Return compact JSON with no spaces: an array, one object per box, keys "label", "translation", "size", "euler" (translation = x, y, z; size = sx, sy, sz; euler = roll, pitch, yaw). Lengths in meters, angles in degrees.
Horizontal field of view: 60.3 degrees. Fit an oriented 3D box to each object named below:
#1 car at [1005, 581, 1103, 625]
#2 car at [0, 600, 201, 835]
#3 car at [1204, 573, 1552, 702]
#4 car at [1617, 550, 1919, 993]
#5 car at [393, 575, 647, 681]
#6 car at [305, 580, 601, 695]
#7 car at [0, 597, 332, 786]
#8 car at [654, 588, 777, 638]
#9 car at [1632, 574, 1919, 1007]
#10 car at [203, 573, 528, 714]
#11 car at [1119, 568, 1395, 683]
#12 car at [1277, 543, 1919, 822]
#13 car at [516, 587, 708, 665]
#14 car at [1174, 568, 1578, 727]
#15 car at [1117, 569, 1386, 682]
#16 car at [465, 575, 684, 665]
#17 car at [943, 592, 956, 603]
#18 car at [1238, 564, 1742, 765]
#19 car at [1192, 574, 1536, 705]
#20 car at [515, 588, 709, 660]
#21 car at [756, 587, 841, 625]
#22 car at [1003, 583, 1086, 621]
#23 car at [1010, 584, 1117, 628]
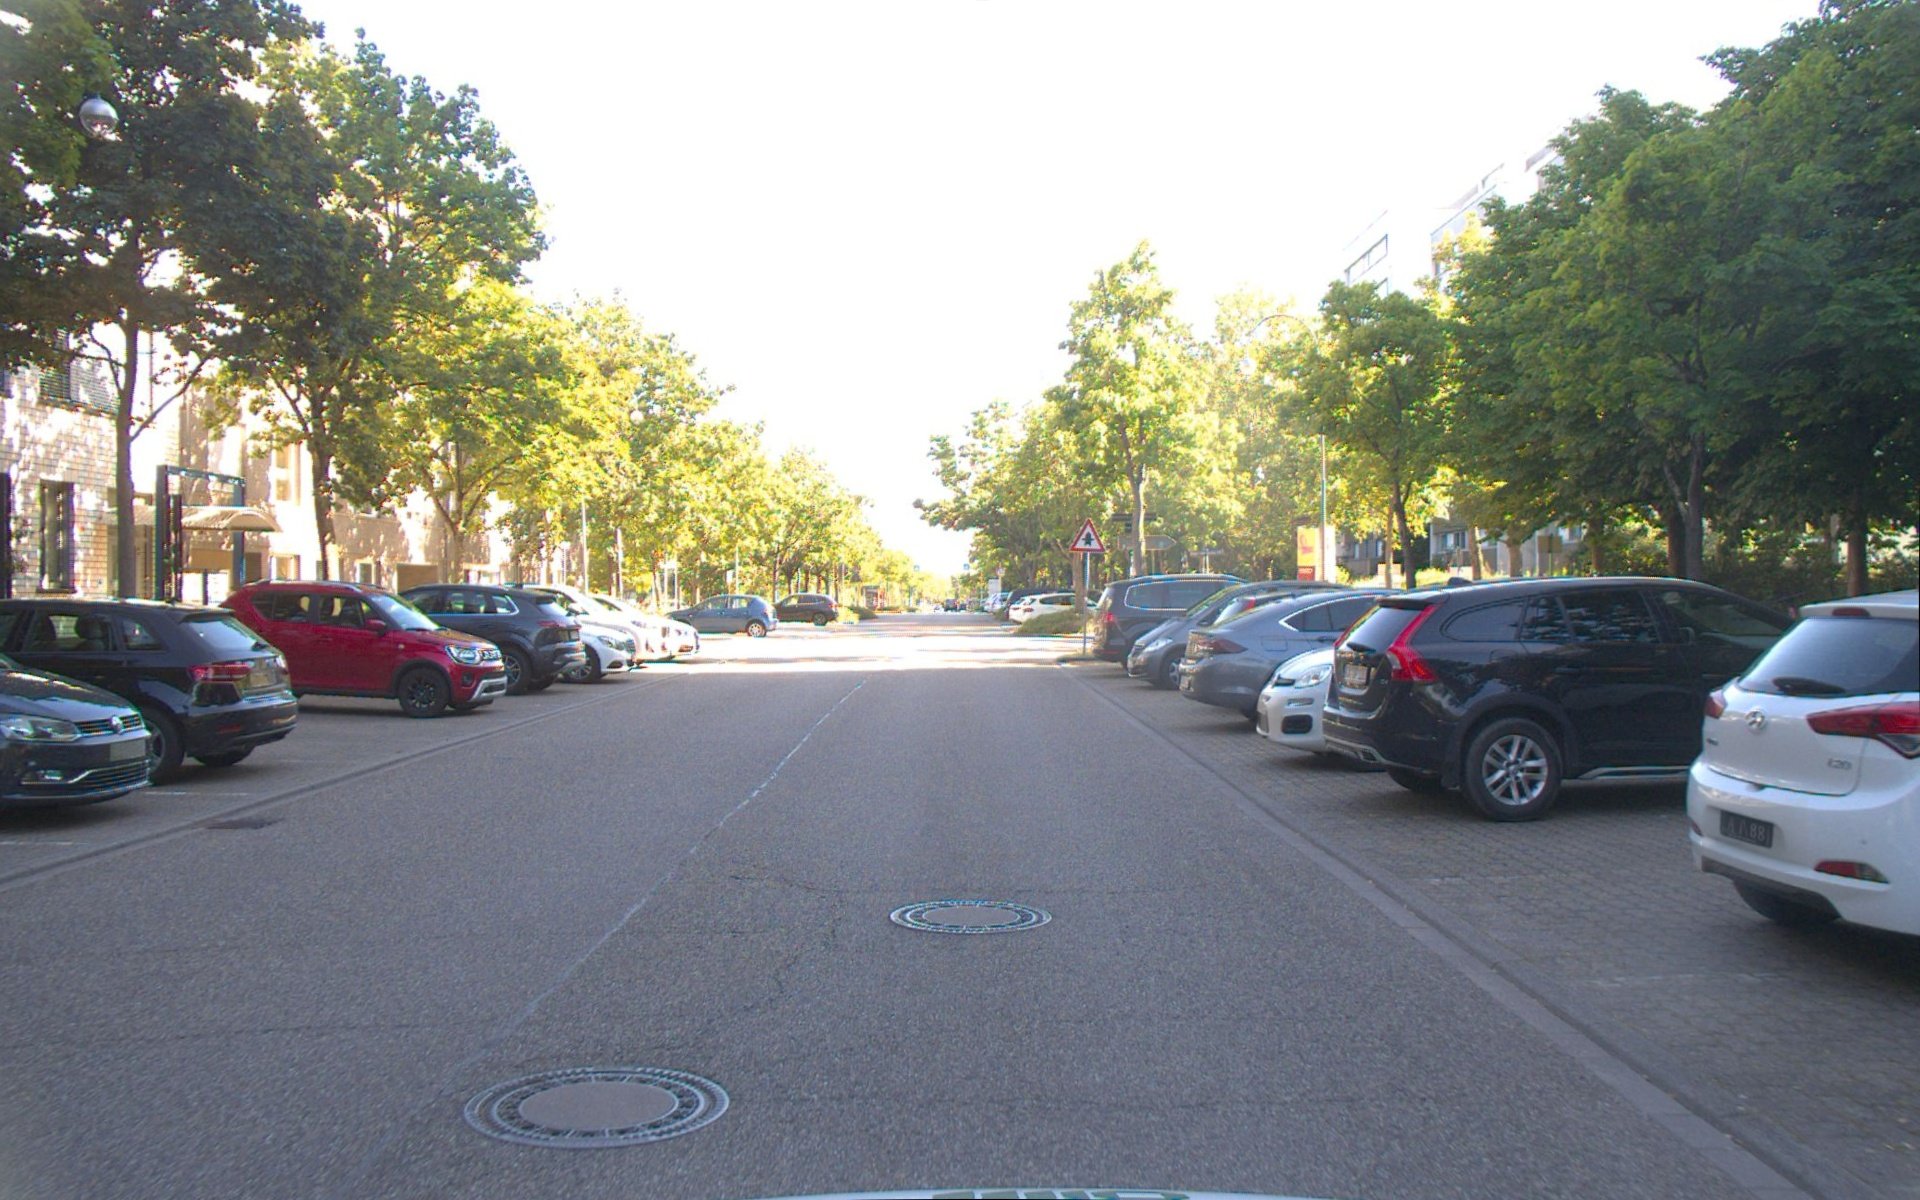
[{"label":"car","translation":[3.979,0.125,70.312],"size":[3.909,1.823,1.998],"euler":[0,0,-6]},{"label":"car","translation":[-7.412,0.706,11.015],"size":[3.907,1.437,1.665],"euler":[1,0,-2]},{"label":"car","translation":[5.288,0.460,21.234],"size":[3.965,1.446,1.735],"euler":[-2,0,-5]},{"label":"car","translation":[4.914,0.527,6.602],"size":[3.787,1.493,1.966],"euler":[-1,0,-1]},{"label":"car","translation":[-7.468,0.464,28.340],"size":[3.906,1.749,1.708],"euler":[0,0,-2]},{"label":"car","translation":[-7.633,0.567,25.142],"size":[3.904,1.614,1.765],"euler":[-1,-1,2]},{"label":"car","translation":[-7.476,0.708,13.695],"size":[3.907,1.431,1.605],"euler":[1,0,-3]},{"label":"car","translation":[-8.125,0.423,55.249],"size":[3.909,1.559,1.616],"euler":[-1,1,-5]},{"label":"car","translation":[4.976,0.601,6.732],"size":[3.678,1.474,1.878],"euler":[-2,0,-4]},{"label":"car","translation":[-7.446,0.541,20.953],"size":[3.467,1.686,1.761],"euler":[0,-1,1]},{"label":"car","translation":[4.597,0.383,25.926],"size":[3.964,1.609,1.640],"euler":[-2,0,-4]},{"label":"car","translation":[4.553,0.498,11.554],"size":[4.168,1.581,1.917],"euler":[-3,0,-7]},{"label":"car","translation":[-7.572,0.554,36.237],"size":[3.814,1.640,1.858],"euler":[0,0,-1]},{"label":"car","translation":[4.463,0.492,18.050],"size":[3.964,1.517,1.549],"euler":[-2,0,-4]},{"label":"car","translation":[4.517,0.377,25.978],"size":[3.816,1.685,1.856],"euler":[0,0,-5]},{"label":"car","translation":[-7.720,0.378,33.329],"size":[3.904,1.683,1.861],"euler":[-1,0,2]},{"label":"car","translation":[-1.604,-0.371,244.680],"size":[1.894,1.625,4.365],"euler":[-1,0,-1]},{"label":"car","translation":[4.597,0.517,14.579],"size":[3.967,1.619,1.547],"euler":[-1,0,-8]},{"label":"car","translation":[5.074,0.480,21.043],"size":[3.964,1.479,1.518],"euler":[-2,0,-4]},{"label":"car","translation":[-7.572,0.510,36.258],"size":[3.907,1.507,1.679],"euler":[0,0,-2]},{"label":"car","translation":[-7.807,0.278,80.128],"size":[3.905,1.713,2.000],"euler":[-1,0,0]},{"label":"car","translation":[4.196,0.099,82.380],"size":[3.909,1.823,1.998],"euler":[0,0,-6]},{"label":"car","translation":[3.983,0.243,64.204],"size":[3.909,1.653,1.998],"euler":[0,0,-6]}]
